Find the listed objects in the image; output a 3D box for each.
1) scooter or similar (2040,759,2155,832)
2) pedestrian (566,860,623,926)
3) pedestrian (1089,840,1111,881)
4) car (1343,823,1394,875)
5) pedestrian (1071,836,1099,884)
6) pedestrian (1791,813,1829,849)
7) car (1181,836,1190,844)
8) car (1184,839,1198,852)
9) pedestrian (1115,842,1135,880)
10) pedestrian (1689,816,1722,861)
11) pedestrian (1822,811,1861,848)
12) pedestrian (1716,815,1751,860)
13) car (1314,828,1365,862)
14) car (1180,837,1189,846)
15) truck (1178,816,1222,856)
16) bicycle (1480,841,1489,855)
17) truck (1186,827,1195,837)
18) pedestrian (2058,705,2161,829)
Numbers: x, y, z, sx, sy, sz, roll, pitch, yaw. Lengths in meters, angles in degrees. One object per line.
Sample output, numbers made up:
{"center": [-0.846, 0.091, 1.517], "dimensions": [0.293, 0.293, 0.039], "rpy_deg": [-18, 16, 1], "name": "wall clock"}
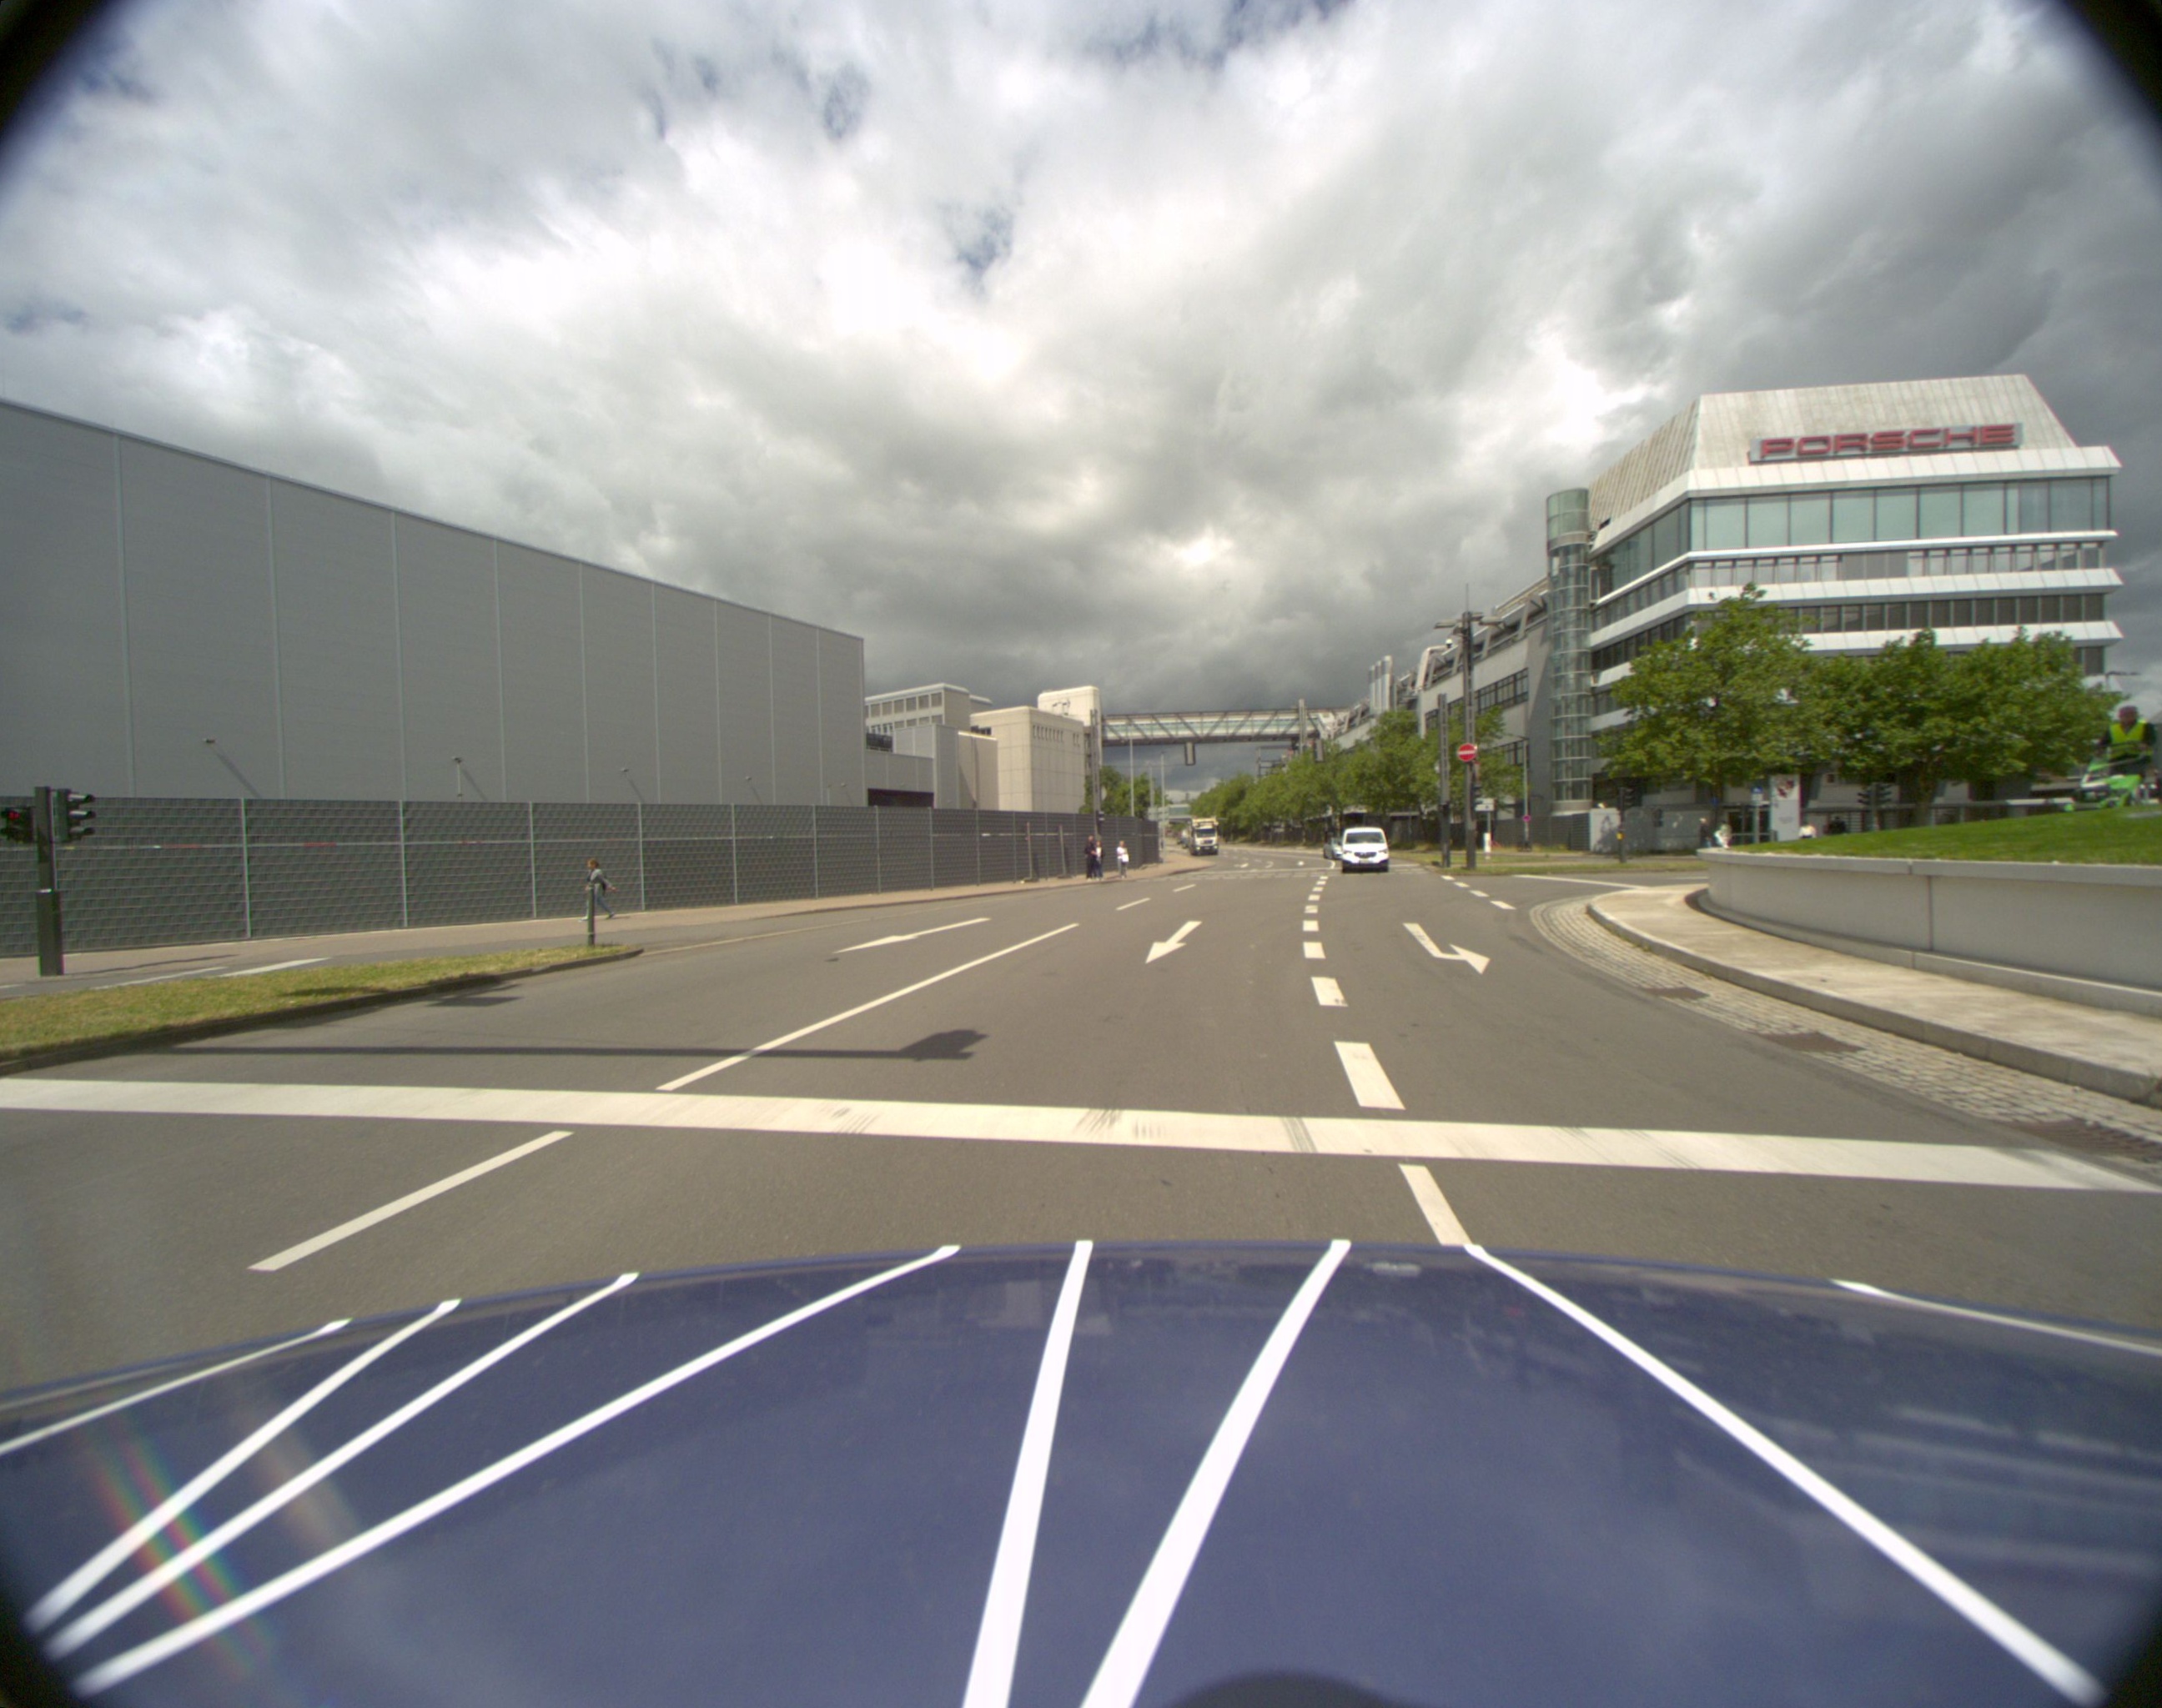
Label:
{"center": [15.222, -0.879, 11.385], "dimensions": [1.405, 1.020, 0.549], "rpy_deg": [-2, 0, -16], "name": "scooter or similar"}
{"center": [-12.241, 0.961, 19.123], "dimensions": [0.693, 1.577, 0.922], "rpy_deg": [-1, 2, 35], "name": "pedestrian"}
{"center": [0.765, 0.257, 30.639], "dimensions": [0.664, 1.607, 0.464], "rpy_deg": [-4, 2, -34], "name": "pedestrian"}
{"center": [12.002, -0.201, 31.773], "dimensions": [1.822, 2.002, 4.397], "rpy_deg": [-2, 0, 21], "name": "car"}
{"center": [0.171, 0.226, 30.263], "dimensions": [0.794, 1.856, 0.660], "rpy_deg": [-4, 2, -34], "name": "pedestrian"}
{"center": [36.272, -1.139, 37.810], "dimensions": [0.866, 1.764, 1.034], "rpy_deg": [-3, 2, -10], "name": "pedestrian"}
{"center": [27.458, -3.693, 200.328], "dimensions": [1.871, 1.945, 4.711], "rpy_deg": [-3, 2, 4], "name": "car"}
{"center": [18.319, -1.498, 126.480], "dimensions": [1.871, 1.945, 4.711], "rpy_deg": [-3, 2, 4], "name": "car"}
{"center": [1.928, 0.309, 33.357], "dimensions": [0.660, 1.599, 0.823], "rpy_deg": [-2, 2, 14], "name": "pedestrian"}
{"center": [29.400, -0.733, 35.782], "dimensions": [0.953, 2.044, 0.952], "rpy_deg": [-2, 2, 22], "name": "pedestrian"}
{"center": [37.587, -1.201, 37.558], "dimensions": [0.866, 1.764, 1.034], "rpy_deg": [-3, 2, -10], "name": "pedestrian"}
{"center": [30.775, -0.795, 35.863], "dimensions": [0.953, 2.044, 0.952], "rpy_deg": [-2, 2, 22], "name": "pedestrian"}
{"center": [16.245, -0.606, 48.002], "dimensions": [1.871, 1.945, 4.711], "rpy_deg": [-3, 2, 4], "name": "car"}
{"center": [24.621, -3.076, 180.681], "dimensions": [1.871, 1.945, 4.711], "rpy_deg": [-3, 2, 4], "name": "car"}
{"center": [12.668, -1.896, 81.765], "dimensions": [2.713, 3.863, 10.737], "rpy_deg": [-2, 1, -1], "name": "truck"}
{"center": [31.635, -0.466, 59.508], "dimensions": [0.297, 1.000, 1.253], "rpy_deg": [-2, 2, 13], "name": "bicycle"}
{"center": [35.175, -7.050, 244.289], "dimensions": [2.457, 3.111, 7.244], "rpy_deg": [-3, 2, 7], "name": "truck"}
{"center": [16.548, -1.317, 11.940], "dimensions": [1.286, 1.806, 0.985], "rpy_deg": [0, 1, -13], "name": "pedestrian"}
